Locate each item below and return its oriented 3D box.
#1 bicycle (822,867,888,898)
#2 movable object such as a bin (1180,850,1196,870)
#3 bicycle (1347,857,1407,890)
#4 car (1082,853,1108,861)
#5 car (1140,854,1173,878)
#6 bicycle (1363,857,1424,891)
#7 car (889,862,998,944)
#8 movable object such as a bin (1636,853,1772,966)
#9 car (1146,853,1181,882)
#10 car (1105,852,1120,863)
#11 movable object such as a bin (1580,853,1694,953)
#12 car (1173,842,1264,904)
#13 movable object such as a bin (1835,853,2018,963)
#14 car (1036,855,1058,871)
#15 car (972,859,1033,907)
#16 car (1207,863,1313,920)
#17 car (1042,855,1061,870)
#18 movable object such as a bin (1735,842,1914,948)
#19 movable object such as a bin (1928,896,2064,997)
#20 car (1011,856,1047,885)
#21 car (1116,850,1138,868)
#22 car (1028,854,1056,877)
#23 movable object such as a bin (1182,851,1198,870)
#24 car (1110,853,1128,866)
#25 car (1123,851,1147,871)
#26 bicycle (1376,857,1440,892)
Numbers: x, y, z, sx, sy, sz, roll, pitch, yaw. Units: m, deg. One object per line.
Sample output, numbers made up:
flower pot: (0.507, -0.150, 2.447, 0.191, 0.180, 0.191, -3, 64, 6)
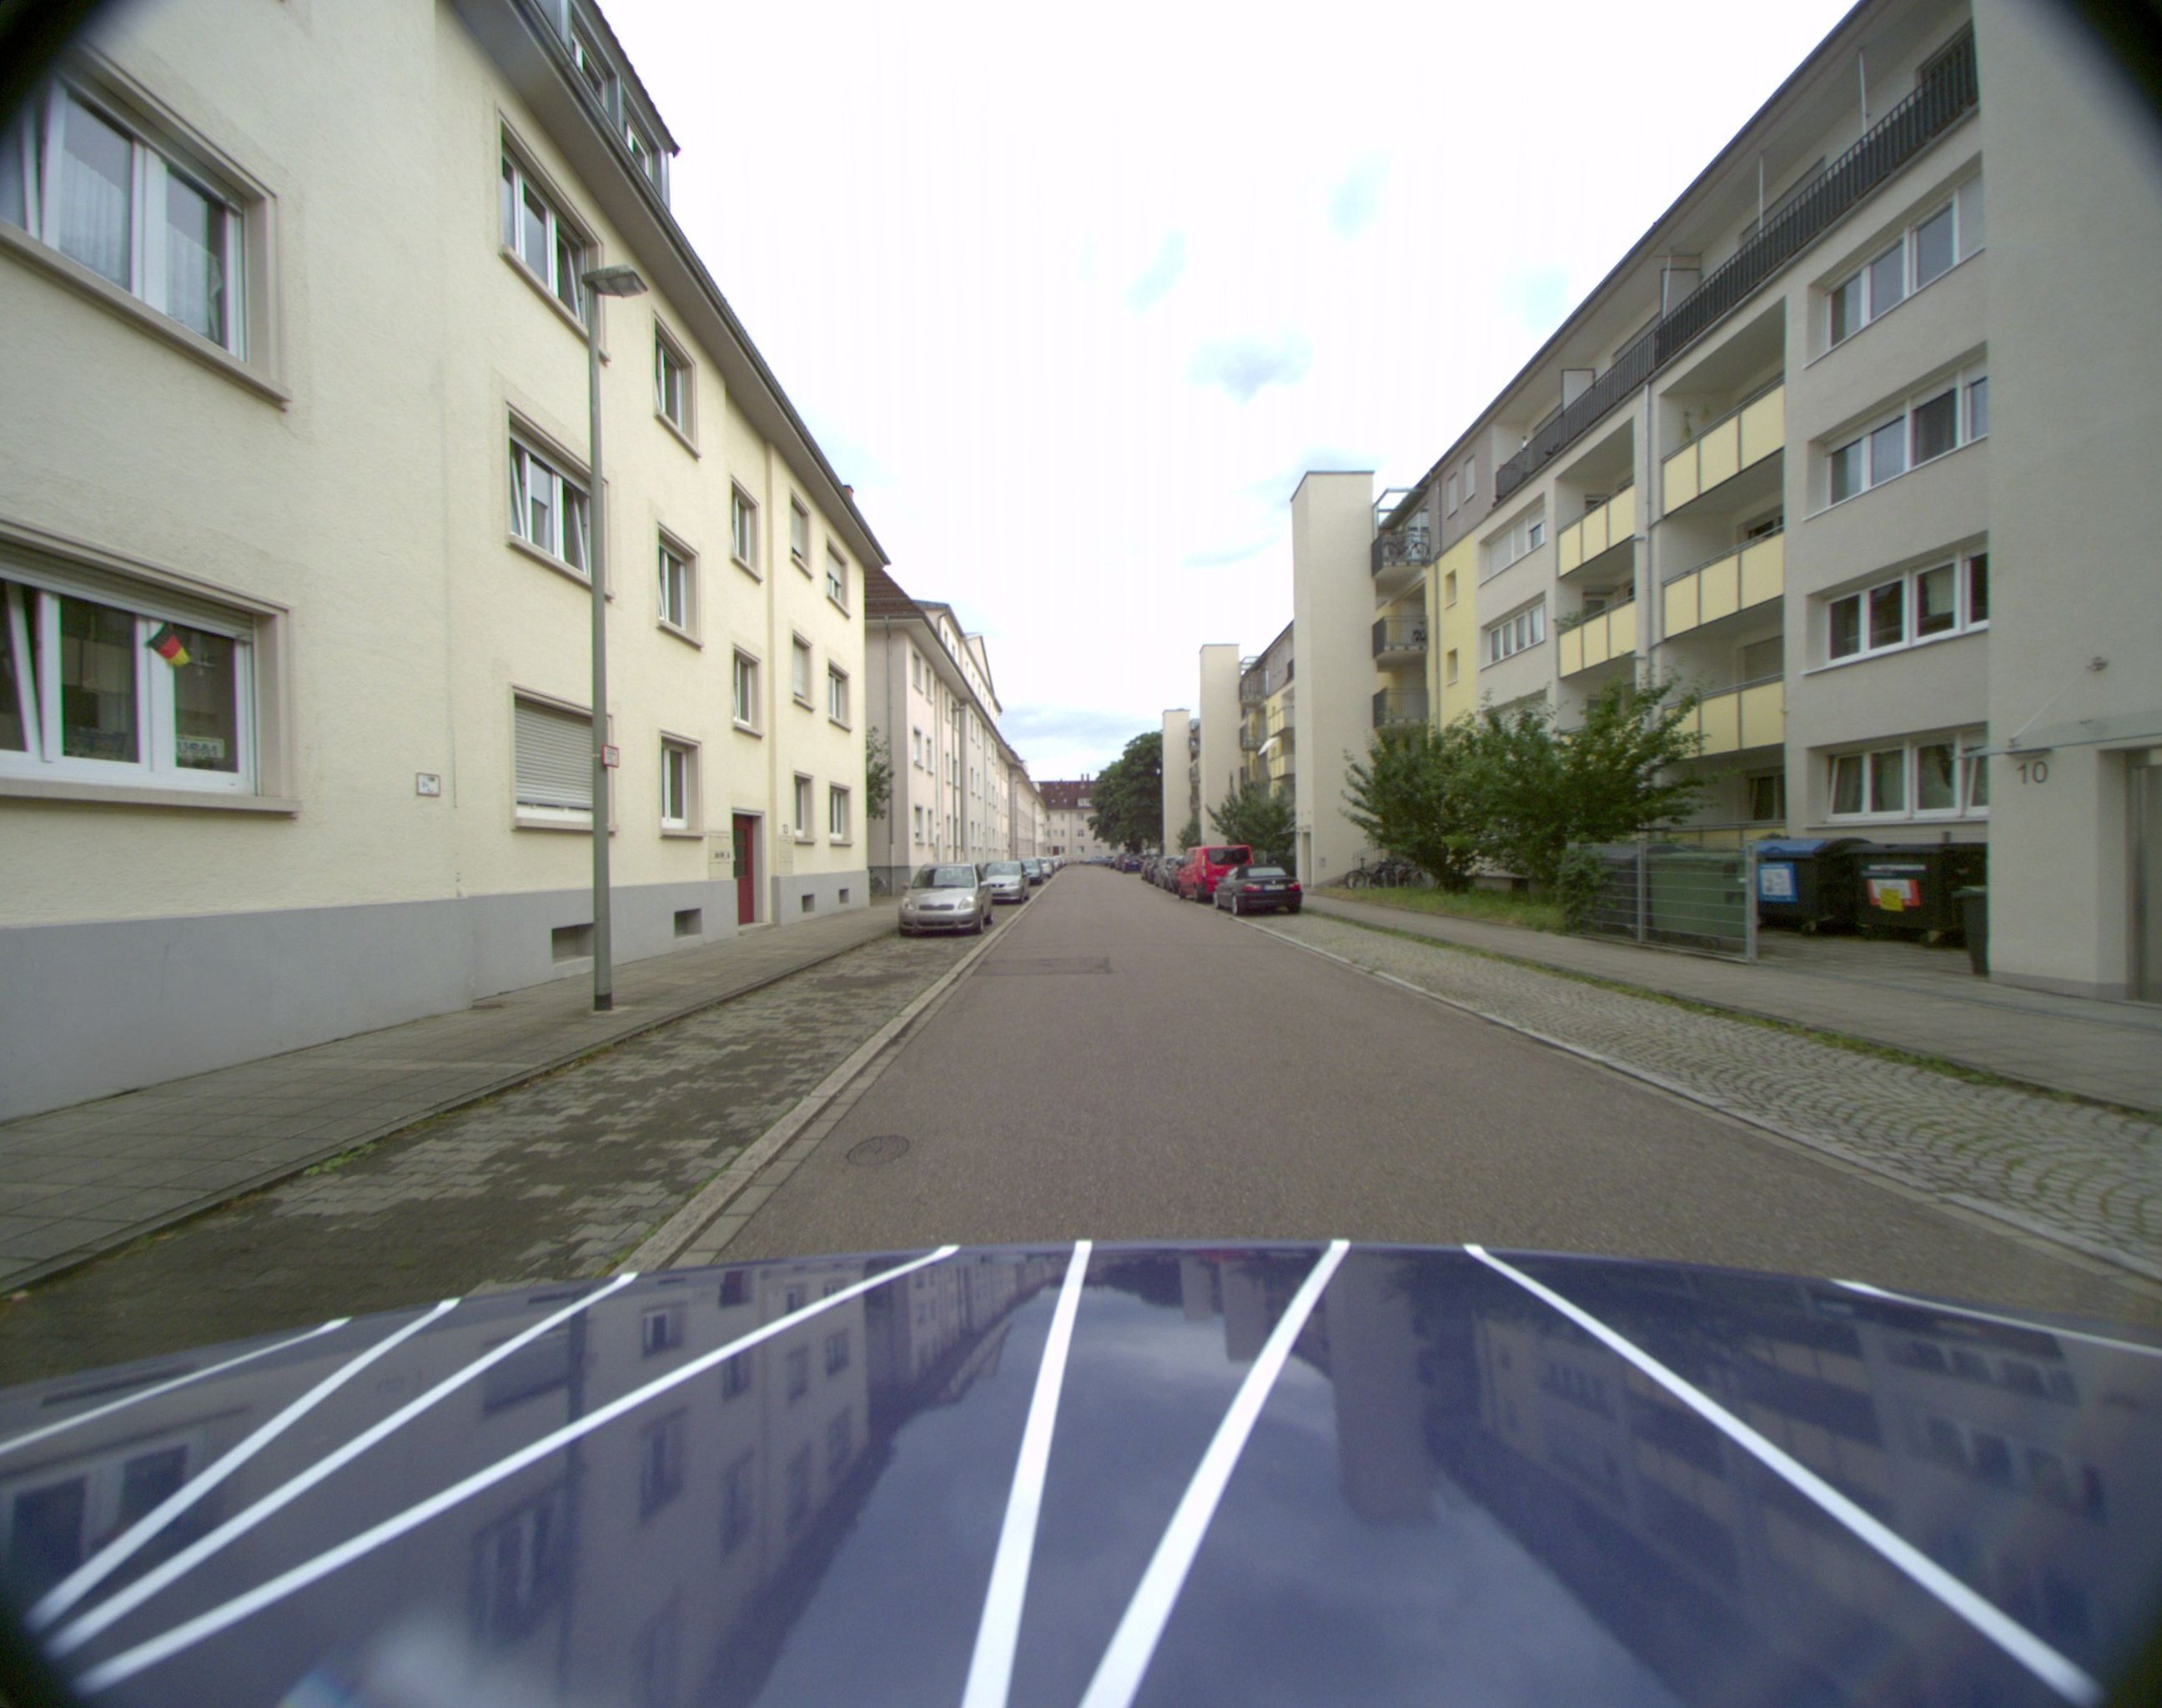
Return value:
bicycle: (-8.329, 1.037, 28.061, 2.214, 1.070, 0.648, -1, 1, -1)
movable object such as a bin: (8.359, 0.445, 59.474, 1.004, 1.492, 1.314, -2, 1, 0)
bicycle: (10.442, 0.683, 26.809, 1.839, 1.112, 0.605, -2, 1, -1)
car: (2.600, 0.534, 137.810, 4.546, 1.551, 1.565, -1, 1, 4)
car: (4.869, 0.734, 49.380, 1.647, 1.430, 3.856, -3, 0, 0)
bicycle: (10.744, 0.671, 26.137, 1.839, 1.112, 0.570, -1, 1, 2)
car: (-2.869, 0.957, 16.691, 1.729, 1.508, 4.060, -1, 0, -1)
movable object such as a bin: (8.436, 0.710, 10.361, 0.805, 1.421, 1.288, -2, 1, 4)
car: (4.750, 0.756, 43.922, 1.657, 1.521, 3.895, -3, 0, 2)
car: (4.800, 0.508, 115.004, 2.000, 1.566, 4.209, -3, 0, 0)
movable object such as a bin: (8.475, 0.717, 11.653, 0.805, 1.421, 1.288, -2, 1, 3)
car: (4.838, 0.631, 27.544, 2.157, 1.942, 4.920, -3, 0, -2)
movable object such as a bin: (11.169, 0.669, 10.101, 0.981, 1.332, 1.288, -2, 1, 0)
car: (-3.007, 0.795, 67.310, 1.758, 1.401, 3.936, -1, 0, 0)
car: (-2.694, 0.975, 26.863, 1.729, 1.483, 4.060, -1, 0, 0)
car: (4.918, 0.985, 21.505, 1.875, 1.316, 4.361, -2, 0, -1)
car: (-2.940, 0.817, 77.308, 1.792, 1.455, 4.039, 0, 0, 0)
movable object such as a bin: (11.194, 0.581, 11.521, 1.355, 1.456, 1.372, -2, 1, -2)
movable object such as a bin: (9.553, 0.948, 7.955, 0.637, 0.959, 0.652, -1, 1, 0)
car: (-2.875, 0.880, 42.609, 1.729, 1.460, 4.264, -1, 0, 0)
car: (4.798, 0.531, 79.565, 1.891, 1.844, 4.785, -1, 0, -1)
car: (-2.814, 0.787, 55.456, 1.788, 1.590, 3.804, -1, 0, 1)
movable object such as a bin: (8.337, 0.482, 58.134, 1.004, 1.438, 1.314, -2, 1, 0)
car: (4.741, 0.682, 95.004, 1.919, 1.431, 4.433, -3, 0, -2)
car: (4.760, 0.578, 67.605, 1.804, 1.617, 4.471, -2, 0, 0)
bicycle: (10.801, 0.675, 25.161, 1.838, 1.112, 0.570, -1, 0, 6)
